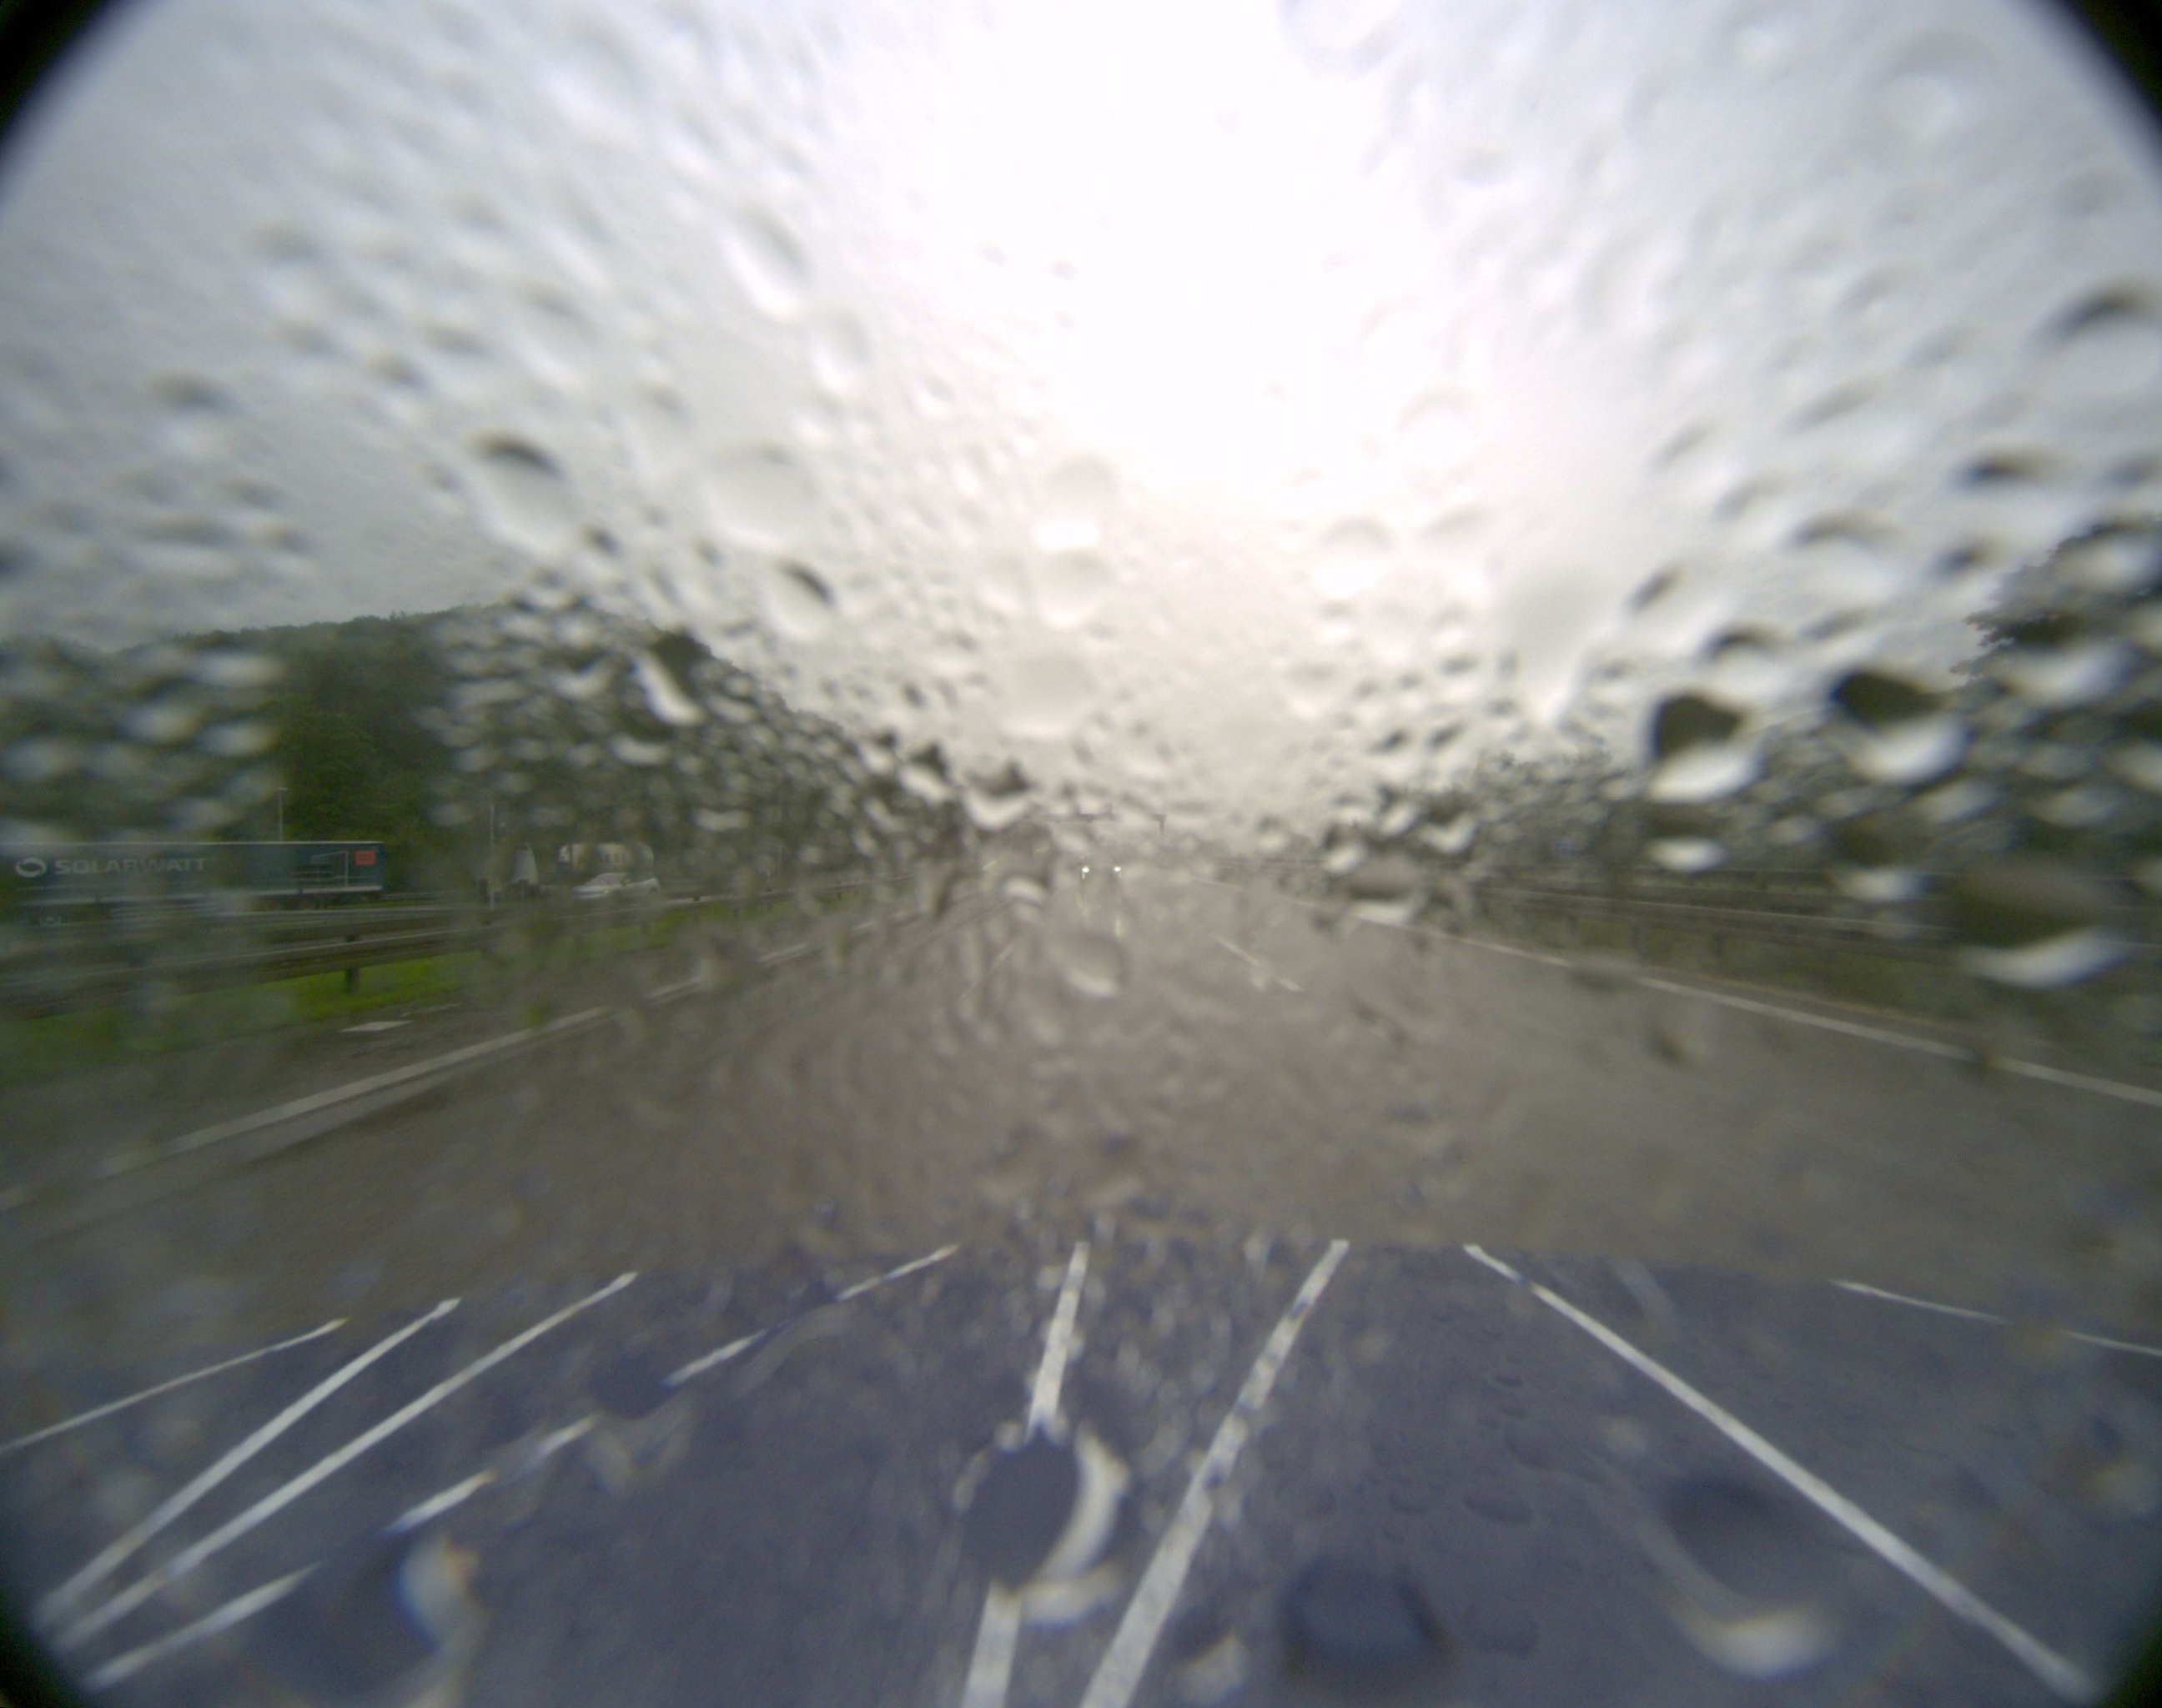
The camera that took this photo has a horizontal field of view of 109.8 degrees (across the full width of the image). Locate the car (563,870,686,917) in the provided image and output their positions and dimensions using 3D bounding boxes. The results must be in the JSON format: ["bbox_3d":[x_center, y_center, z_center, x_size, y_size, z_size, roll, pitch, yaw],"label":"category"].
[{"bbox_3d":[-20.618,1.719,34.722,1.998,1.740,5.662,-2,1,2],"label":"car"}]

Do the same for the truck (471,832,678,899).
[{"bbox_3d":[-35.514,0.636,54.148,2.872,4.232,11.893,-2,1,33],"label":"truck"}]

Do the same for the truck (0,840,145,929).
[{"bbox_3d":[-48.966,1.423,34.688,2.750,3.844,7.548,-2,1,35],"label":"truck"}]

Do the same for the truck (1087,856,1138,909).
[{"bbox_3d":[1.306,1.155,34.013,1.998,2.002,7.575,-1,0,1],"label":"truck"}]

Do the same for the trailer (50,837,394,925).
[{"bbox_3d":[-44.844,1.189,40.481,2.786,3.878,11.772,-2,1,35],"label":"trailer"}]
